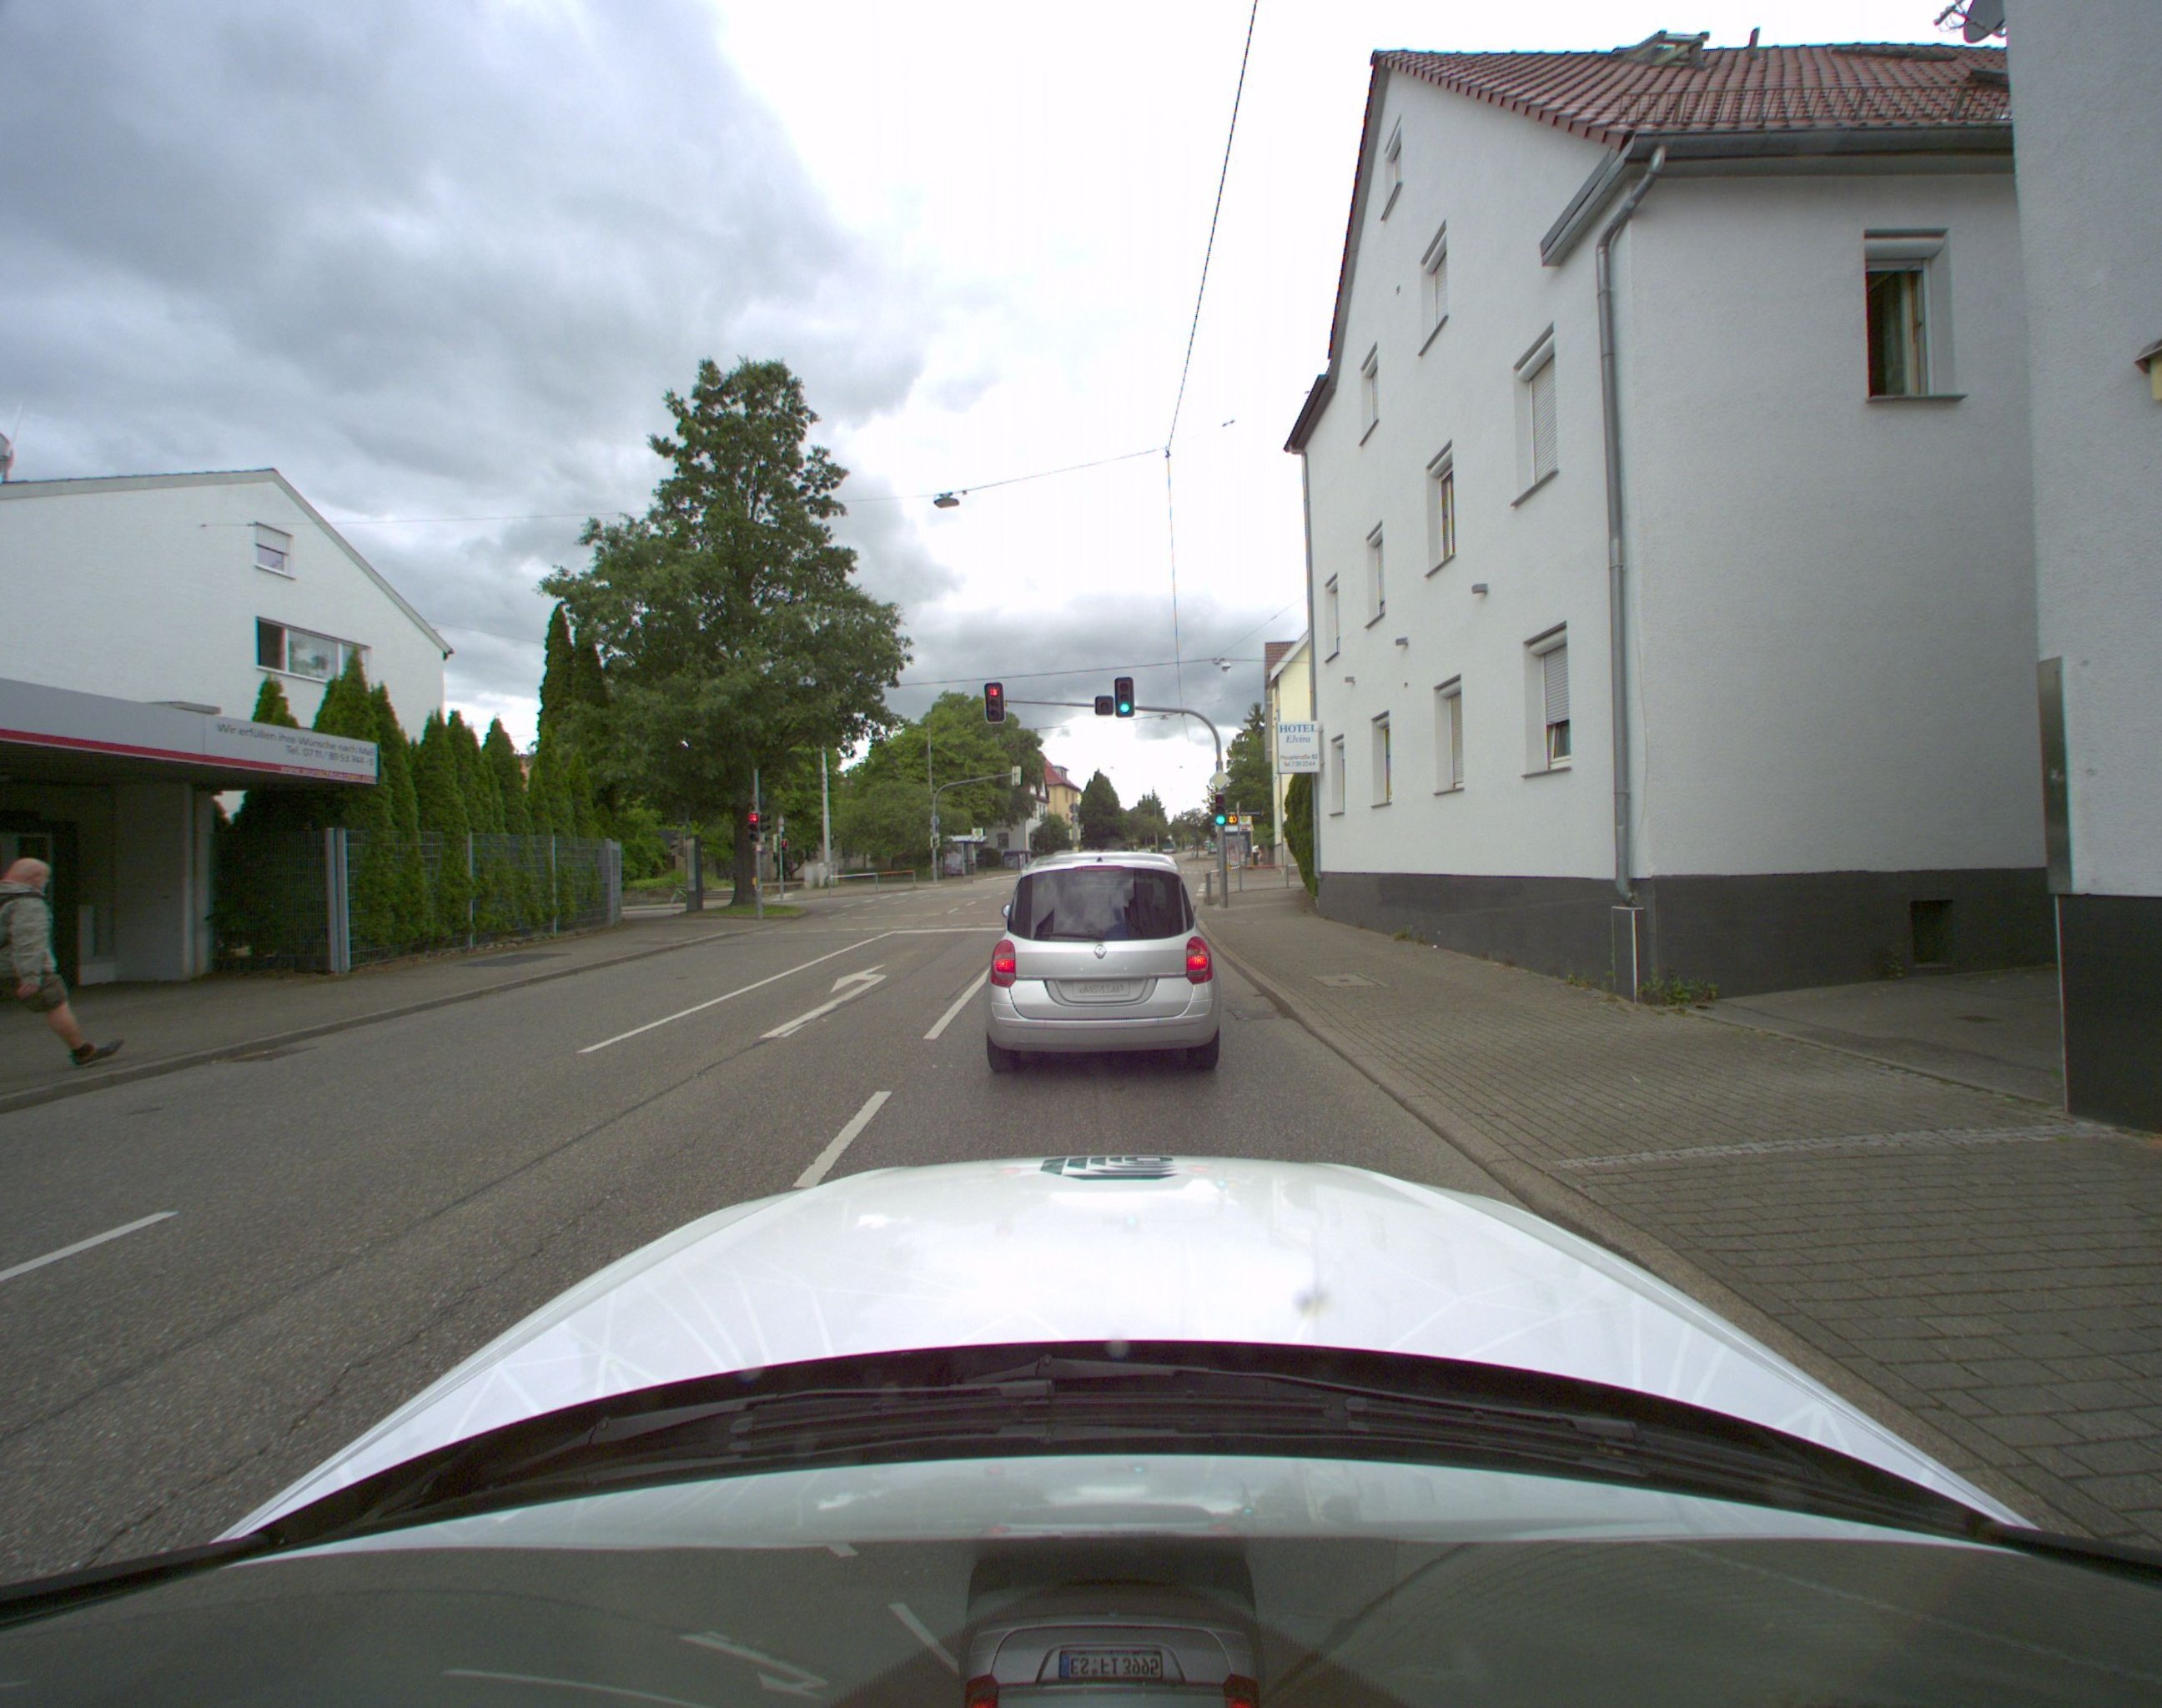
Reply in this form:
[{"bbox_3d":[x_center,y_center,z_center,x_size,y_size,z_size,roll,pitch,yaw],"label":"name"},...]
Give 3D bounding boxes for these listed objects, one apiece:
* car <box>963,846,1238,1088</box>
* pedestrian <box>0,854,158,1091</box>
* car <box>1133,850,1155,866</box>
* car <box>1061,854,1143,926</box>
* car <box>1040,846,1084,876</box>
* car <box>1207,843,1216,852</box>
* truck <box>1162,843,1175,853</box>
[{"bbox_3d":[0.175,0.737,7.228,1.748,1.530,4.001,-1,0,1],"label":"car"},{"bbox_3d":[-8.304,0.873,6.458,0.749,1.743,1.019,1,-1,1],"label":"pedestrian"},{"bbox_3d":[7.118,0.472,91.311,1.844,1.748,4.015,-1,0,14],"label":"car"},{"bbox_3d":[0.503,0.788,19.461,1.748,1.530,3.798,-1,0,1],"label":"car"},{"bbox_3d":[-1.211,0.442,54.289,1.913,1.773,4.013,-6,-1,12],"label":"car"},{"bbox_3d":[38.558,-1.850,240.342,2.044,2.512,5.616,-1,0,14],"label":"car"},{"bbox_3d":[17.930,-1.229,166.268,2.088,2.014,5.765,-1,0,11],"label":"truck"}]
